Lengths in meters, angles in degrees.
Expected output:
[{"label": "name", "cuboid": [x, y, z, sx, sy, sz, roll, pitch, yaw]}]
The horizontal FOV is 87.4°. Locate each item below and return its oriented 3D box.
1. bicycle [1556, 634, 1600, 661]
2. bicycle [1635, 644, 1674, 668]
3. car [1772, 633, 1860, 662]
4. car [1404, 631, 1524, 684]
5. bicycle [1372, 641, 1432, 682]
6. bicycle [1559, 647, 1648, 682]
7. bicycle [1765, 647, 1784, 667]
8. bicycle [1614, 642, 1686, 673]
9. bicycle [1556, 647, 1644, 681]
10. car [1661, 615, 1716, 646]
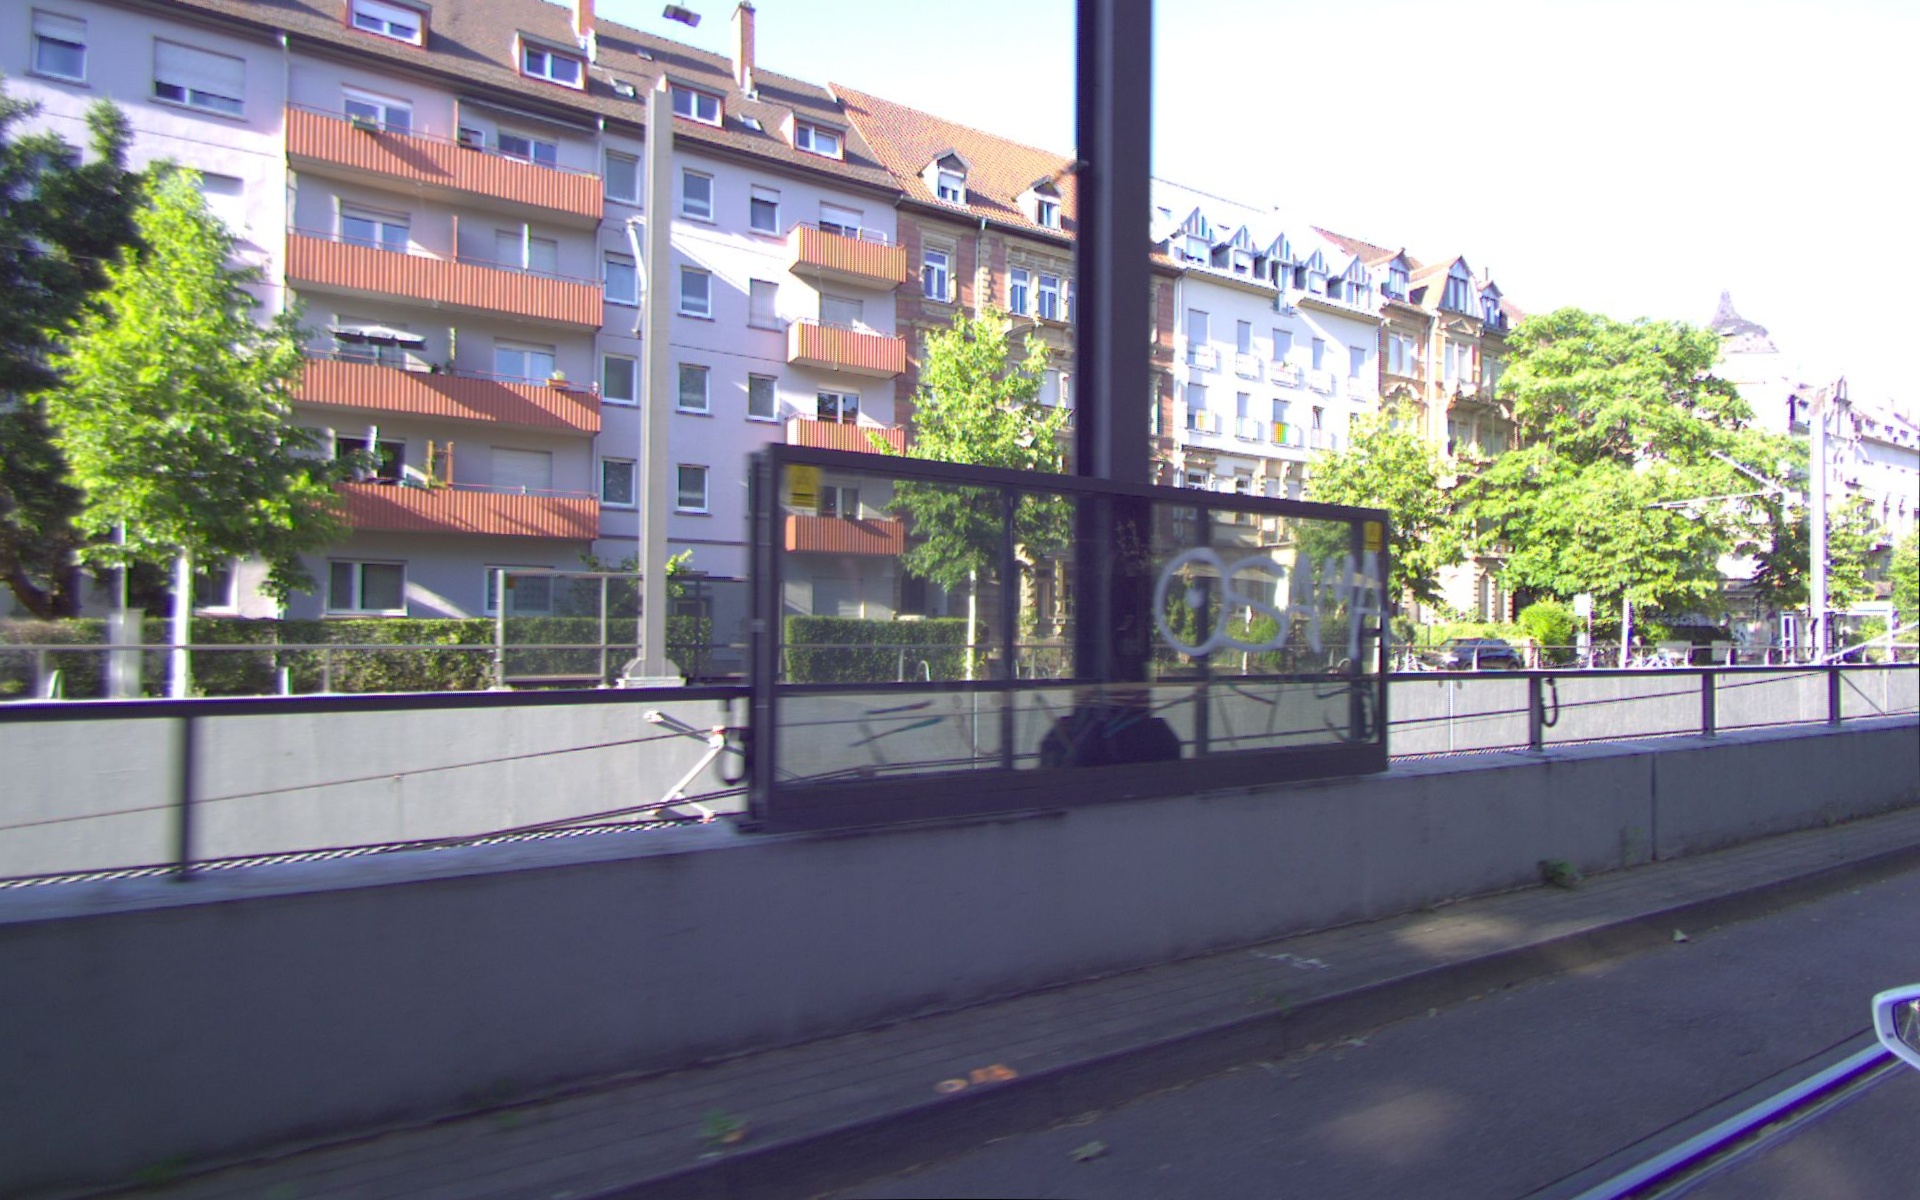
[{"label": "bicycle", "cuboid": [26.759, 2.043, 43.474, 2.348, 1.113, 0.552, 1, 1, -31]}, {"label": "bicycle", "cuboid": [28.259, 2.275, 40.881, 1.246, 0.917, 0.538, 2, 1, 30]}, {"label": "car", "cuboid": [53.814, 2.967, 63.187, 1.809, 1.646, 3.955, 1, 0, -39]}, {"label": "car", "cuboid": [16.967, 1.895, 33.802, 3.956, 1.606, 1.822, 1, 1, -33]}, {"label": "bicycle", "cuboid": [14.340, 1.987, 32.624, 0.555, 1.194, 1.801, 1, 1, -27]}, {"label": "bicycle", "cuboid": [24.198, 2.426, 37.846, 2.735, 1.113, 0.642, 2, 1, 28]}, {"label": "bicycle", "cuboid": [43.583, 3.055, 53.750, 0.447, 1.018, 1.942, 2, -3, 29]}, {"label": "bicycle", "cuboid": [27.784, 2.301, 40.484, 2.333, 1.113, 0.556, 2, 1, 30]}, {"label": "bicycle", "cuboid": [24.479, 2.427, 38.482, 2.735, 1.113, 0.642, 2, 1, 28]}, {"label": "car", "cuboid": [46.767, 1.936, 64.483, 4.447, 1.874, 1.975, 1, 1, -42]}]
